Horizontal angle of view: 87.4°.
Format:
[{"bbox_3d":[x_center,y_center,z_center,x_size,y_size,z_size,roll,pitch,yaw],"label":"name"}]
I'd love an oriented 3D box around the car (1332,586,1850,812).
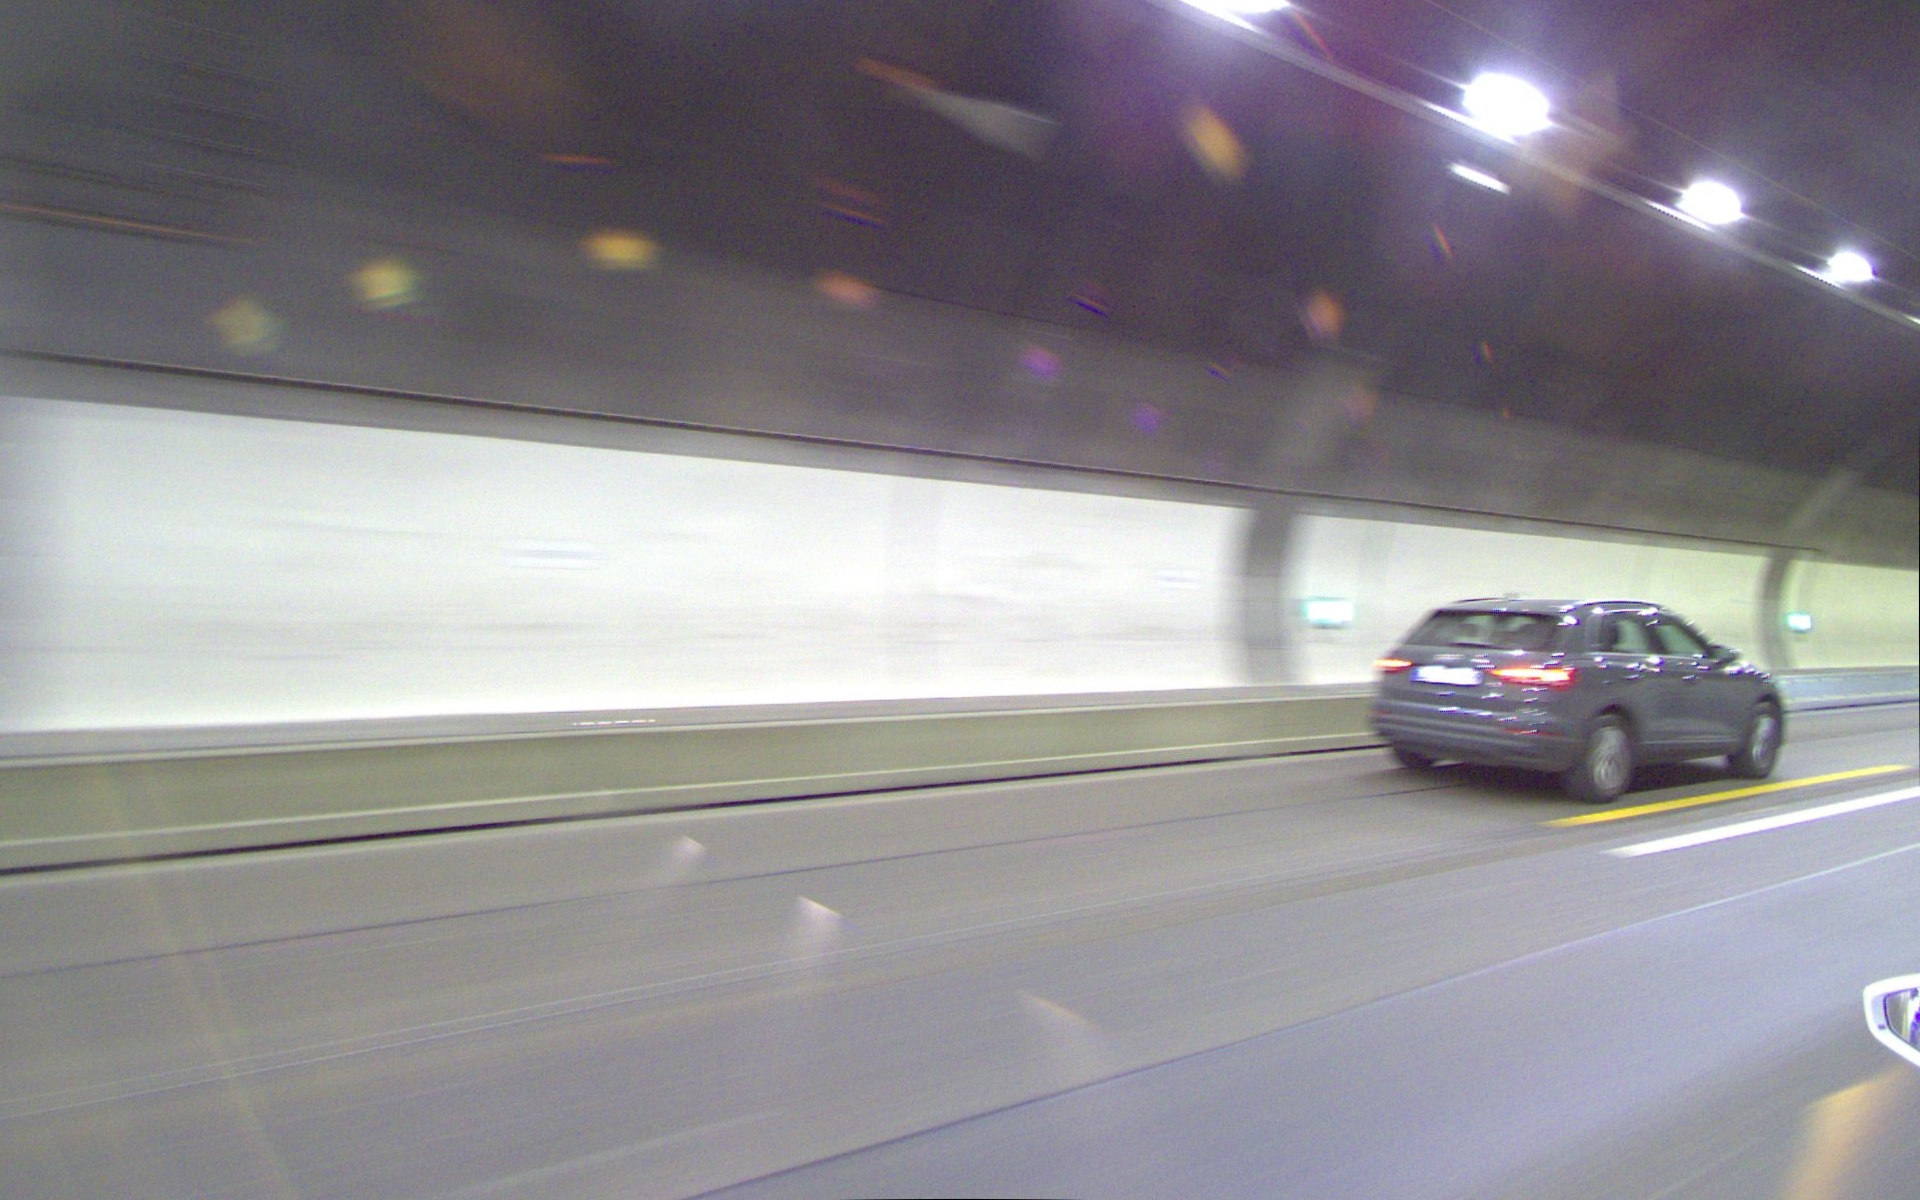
[{"bbox_3d":[5.752,0.748,9.018,4.687,1.561,1.984,2,0,-30],"label":"car"}]
